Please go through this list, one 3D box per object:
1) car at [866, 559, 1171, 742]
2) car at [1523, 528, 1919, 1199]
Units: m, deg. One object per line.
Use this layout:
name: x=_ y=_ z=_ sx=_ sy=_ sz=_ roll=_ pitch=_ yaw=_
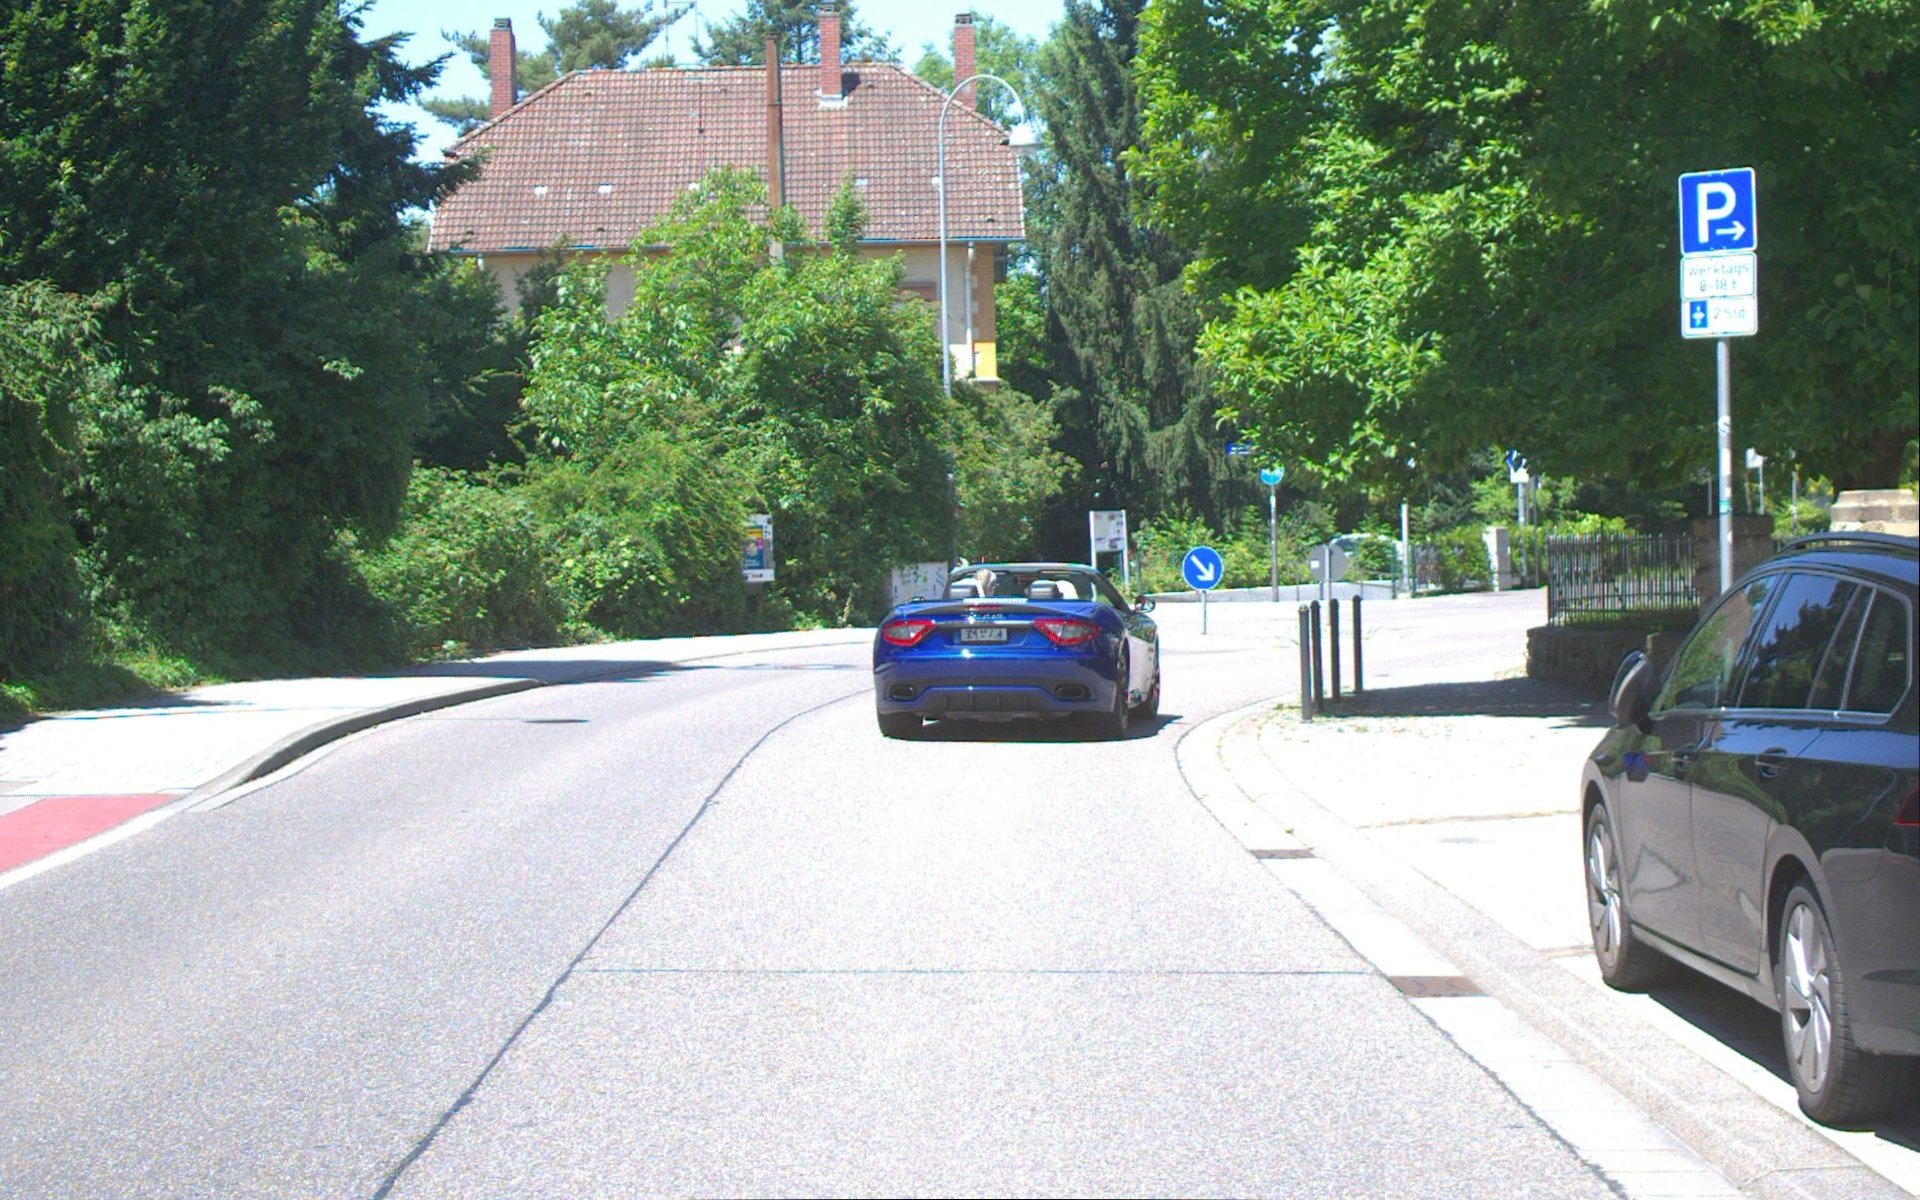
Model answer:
car: x=0.566 y=0.341 z=27.564 sx=1.827 sy=1.332 sz=4.699 roll=0 pitch=1 yaw=9
car: x=2.839 y=0.548 z=9.760 sx=1.631 sy=1.441 sz=4.398 roll=-4 pitch=1 yaw=-1
